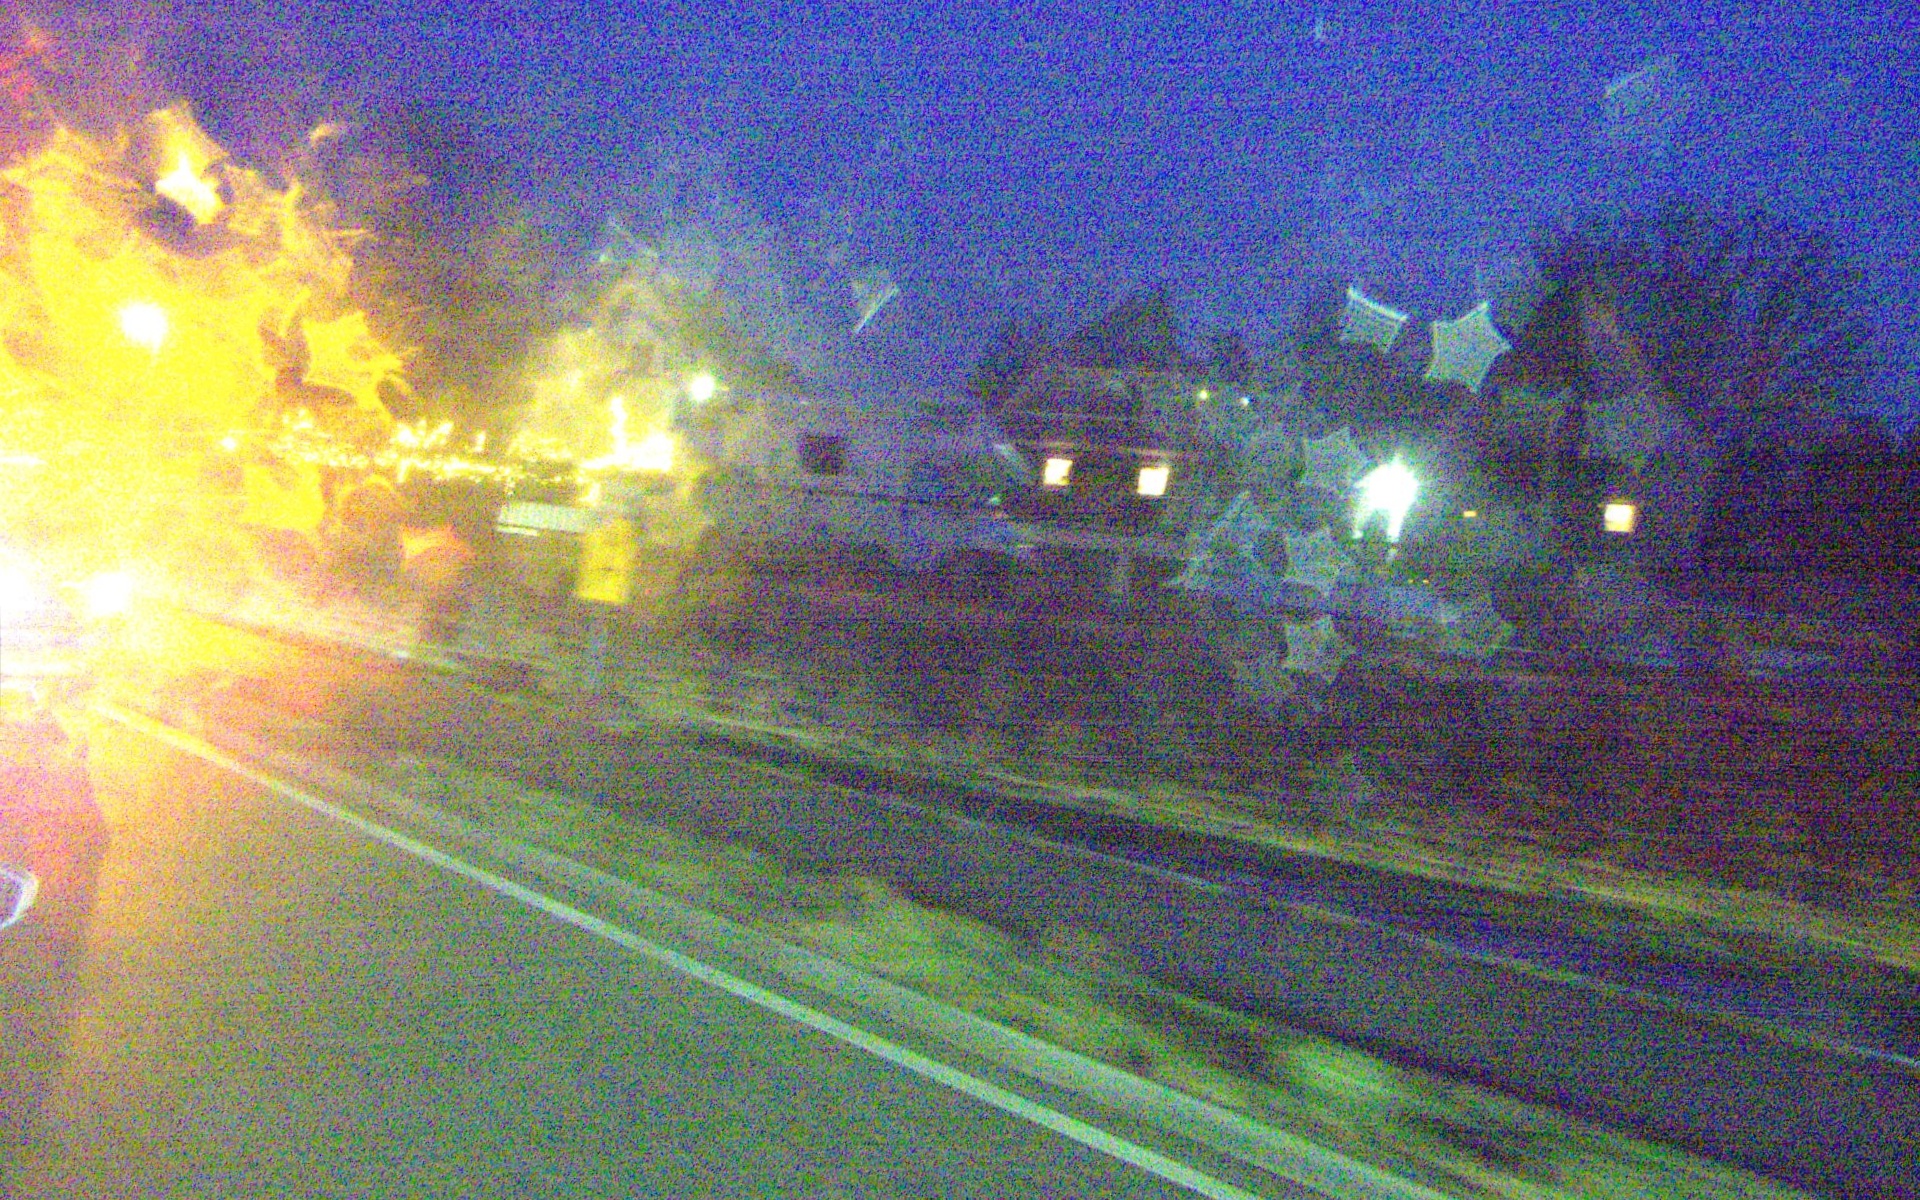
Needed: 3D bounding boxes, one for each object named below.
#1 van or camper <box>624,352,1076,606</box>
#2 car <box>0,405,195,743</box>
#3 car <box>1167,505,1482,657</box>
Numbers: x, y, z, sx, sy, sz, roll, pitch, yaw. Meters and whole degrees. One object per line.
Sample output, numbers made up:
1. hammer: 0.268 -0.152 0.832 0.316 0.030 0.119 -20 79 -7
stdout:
1. van or camper: -1.621 -1.832 15.807 6.238 2.943 2.591 8 -1 14
2. car: -7.483 -0.375 7.004 4.149 1.994 1.946 7 -1 33
3. car: 5.314 -0.265 15.092 4.056 1.636 1.643 8 -1 16
